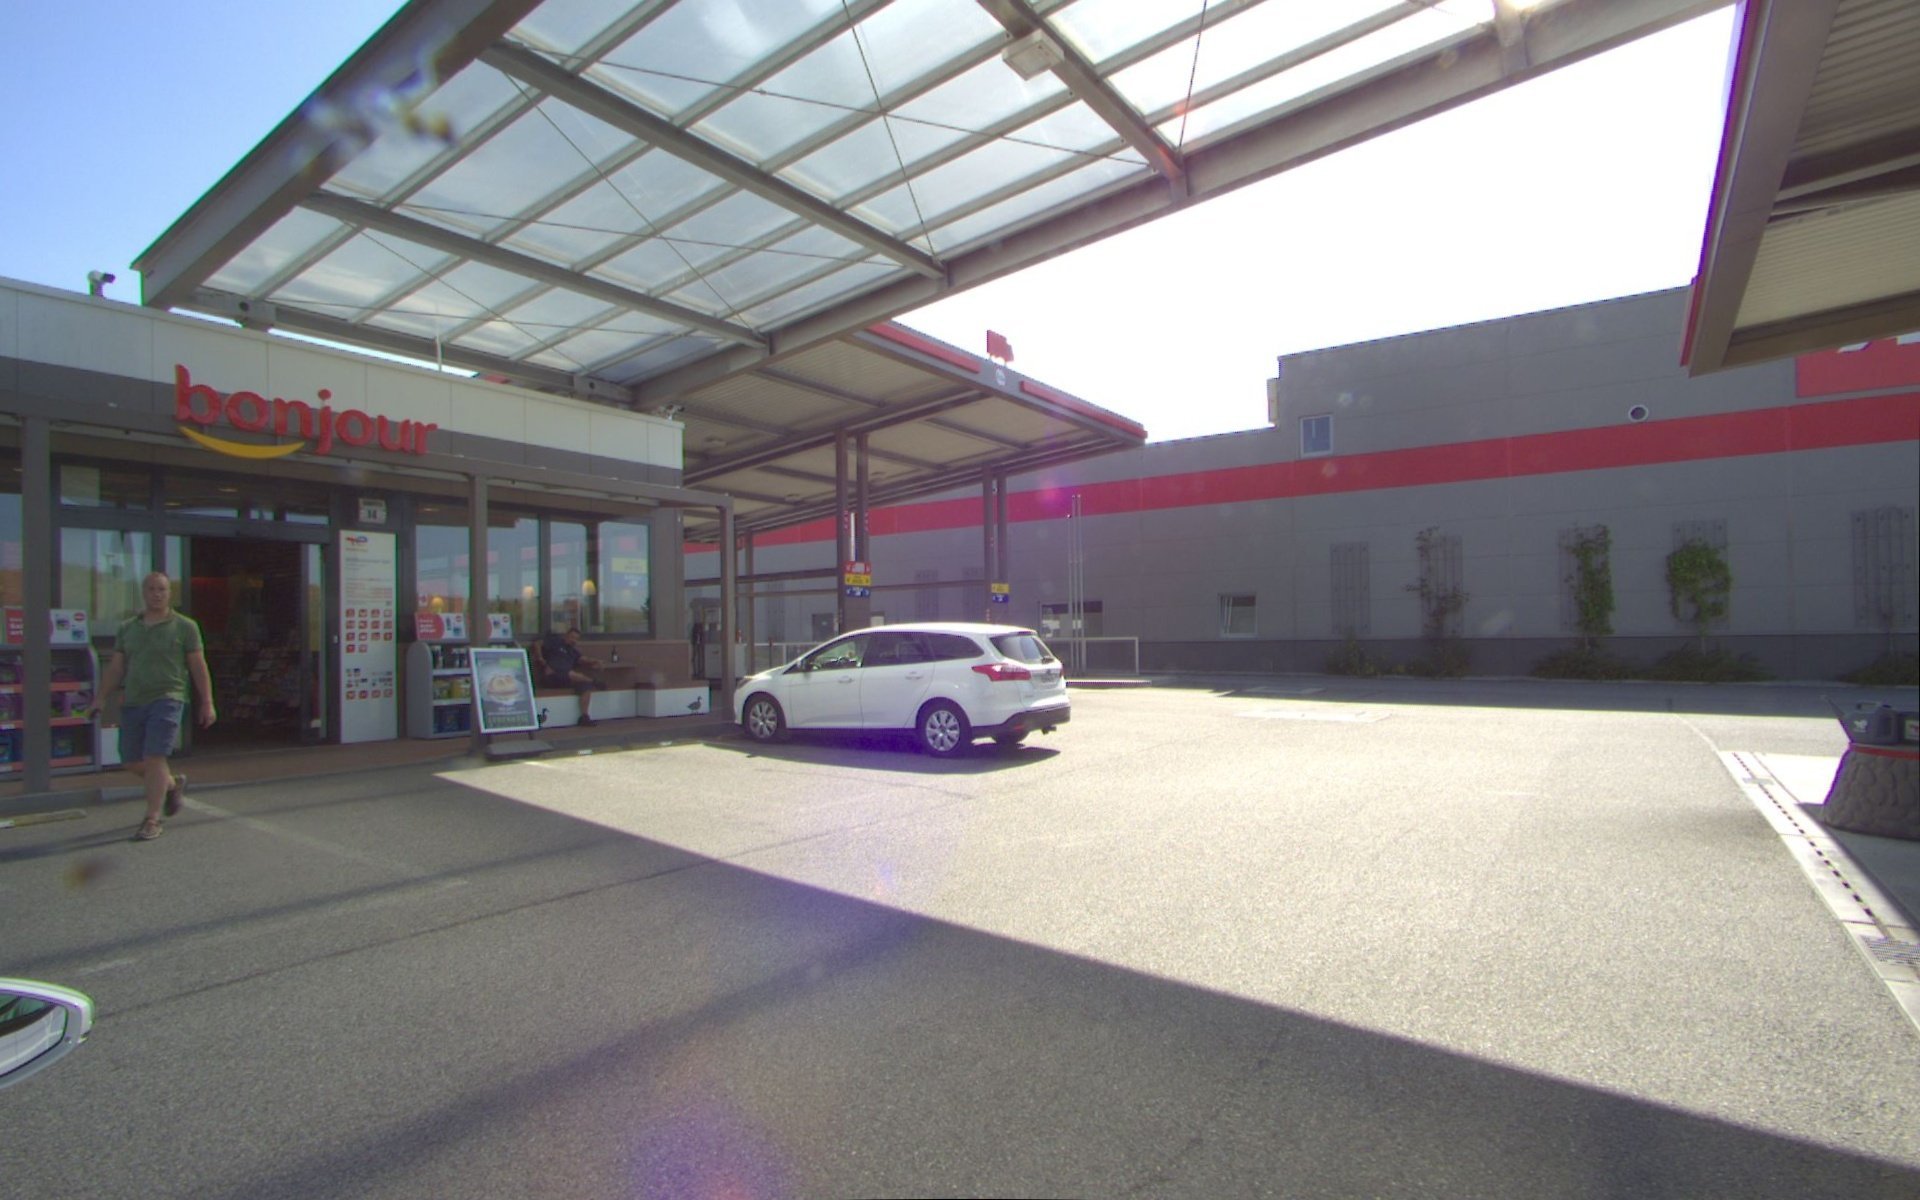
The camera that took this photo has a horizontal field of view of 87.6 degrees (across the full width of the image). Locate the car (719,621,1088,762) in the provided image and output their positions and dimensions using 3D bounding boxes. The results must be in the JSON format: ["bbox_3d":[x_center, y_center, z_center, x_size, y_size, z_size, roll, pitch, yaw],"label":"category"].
[{"bbox_3d":[-0.740,1.014,12.362,4.255,1.475,1.829,-1,-1,29],"label":"car"}]

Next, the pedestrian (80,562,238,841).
[{"bbox_3d":[-5.628,0.676,7.087,0.692,1.820,0.859,0,-1,-26],"label":"pedestrian"}]

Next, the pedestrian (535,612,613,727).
[{"bbox_3d":[-5.073,0.892,13.173,0.663,1.450,0.699,-1,-1,33],"label":"pedestrian"}]
